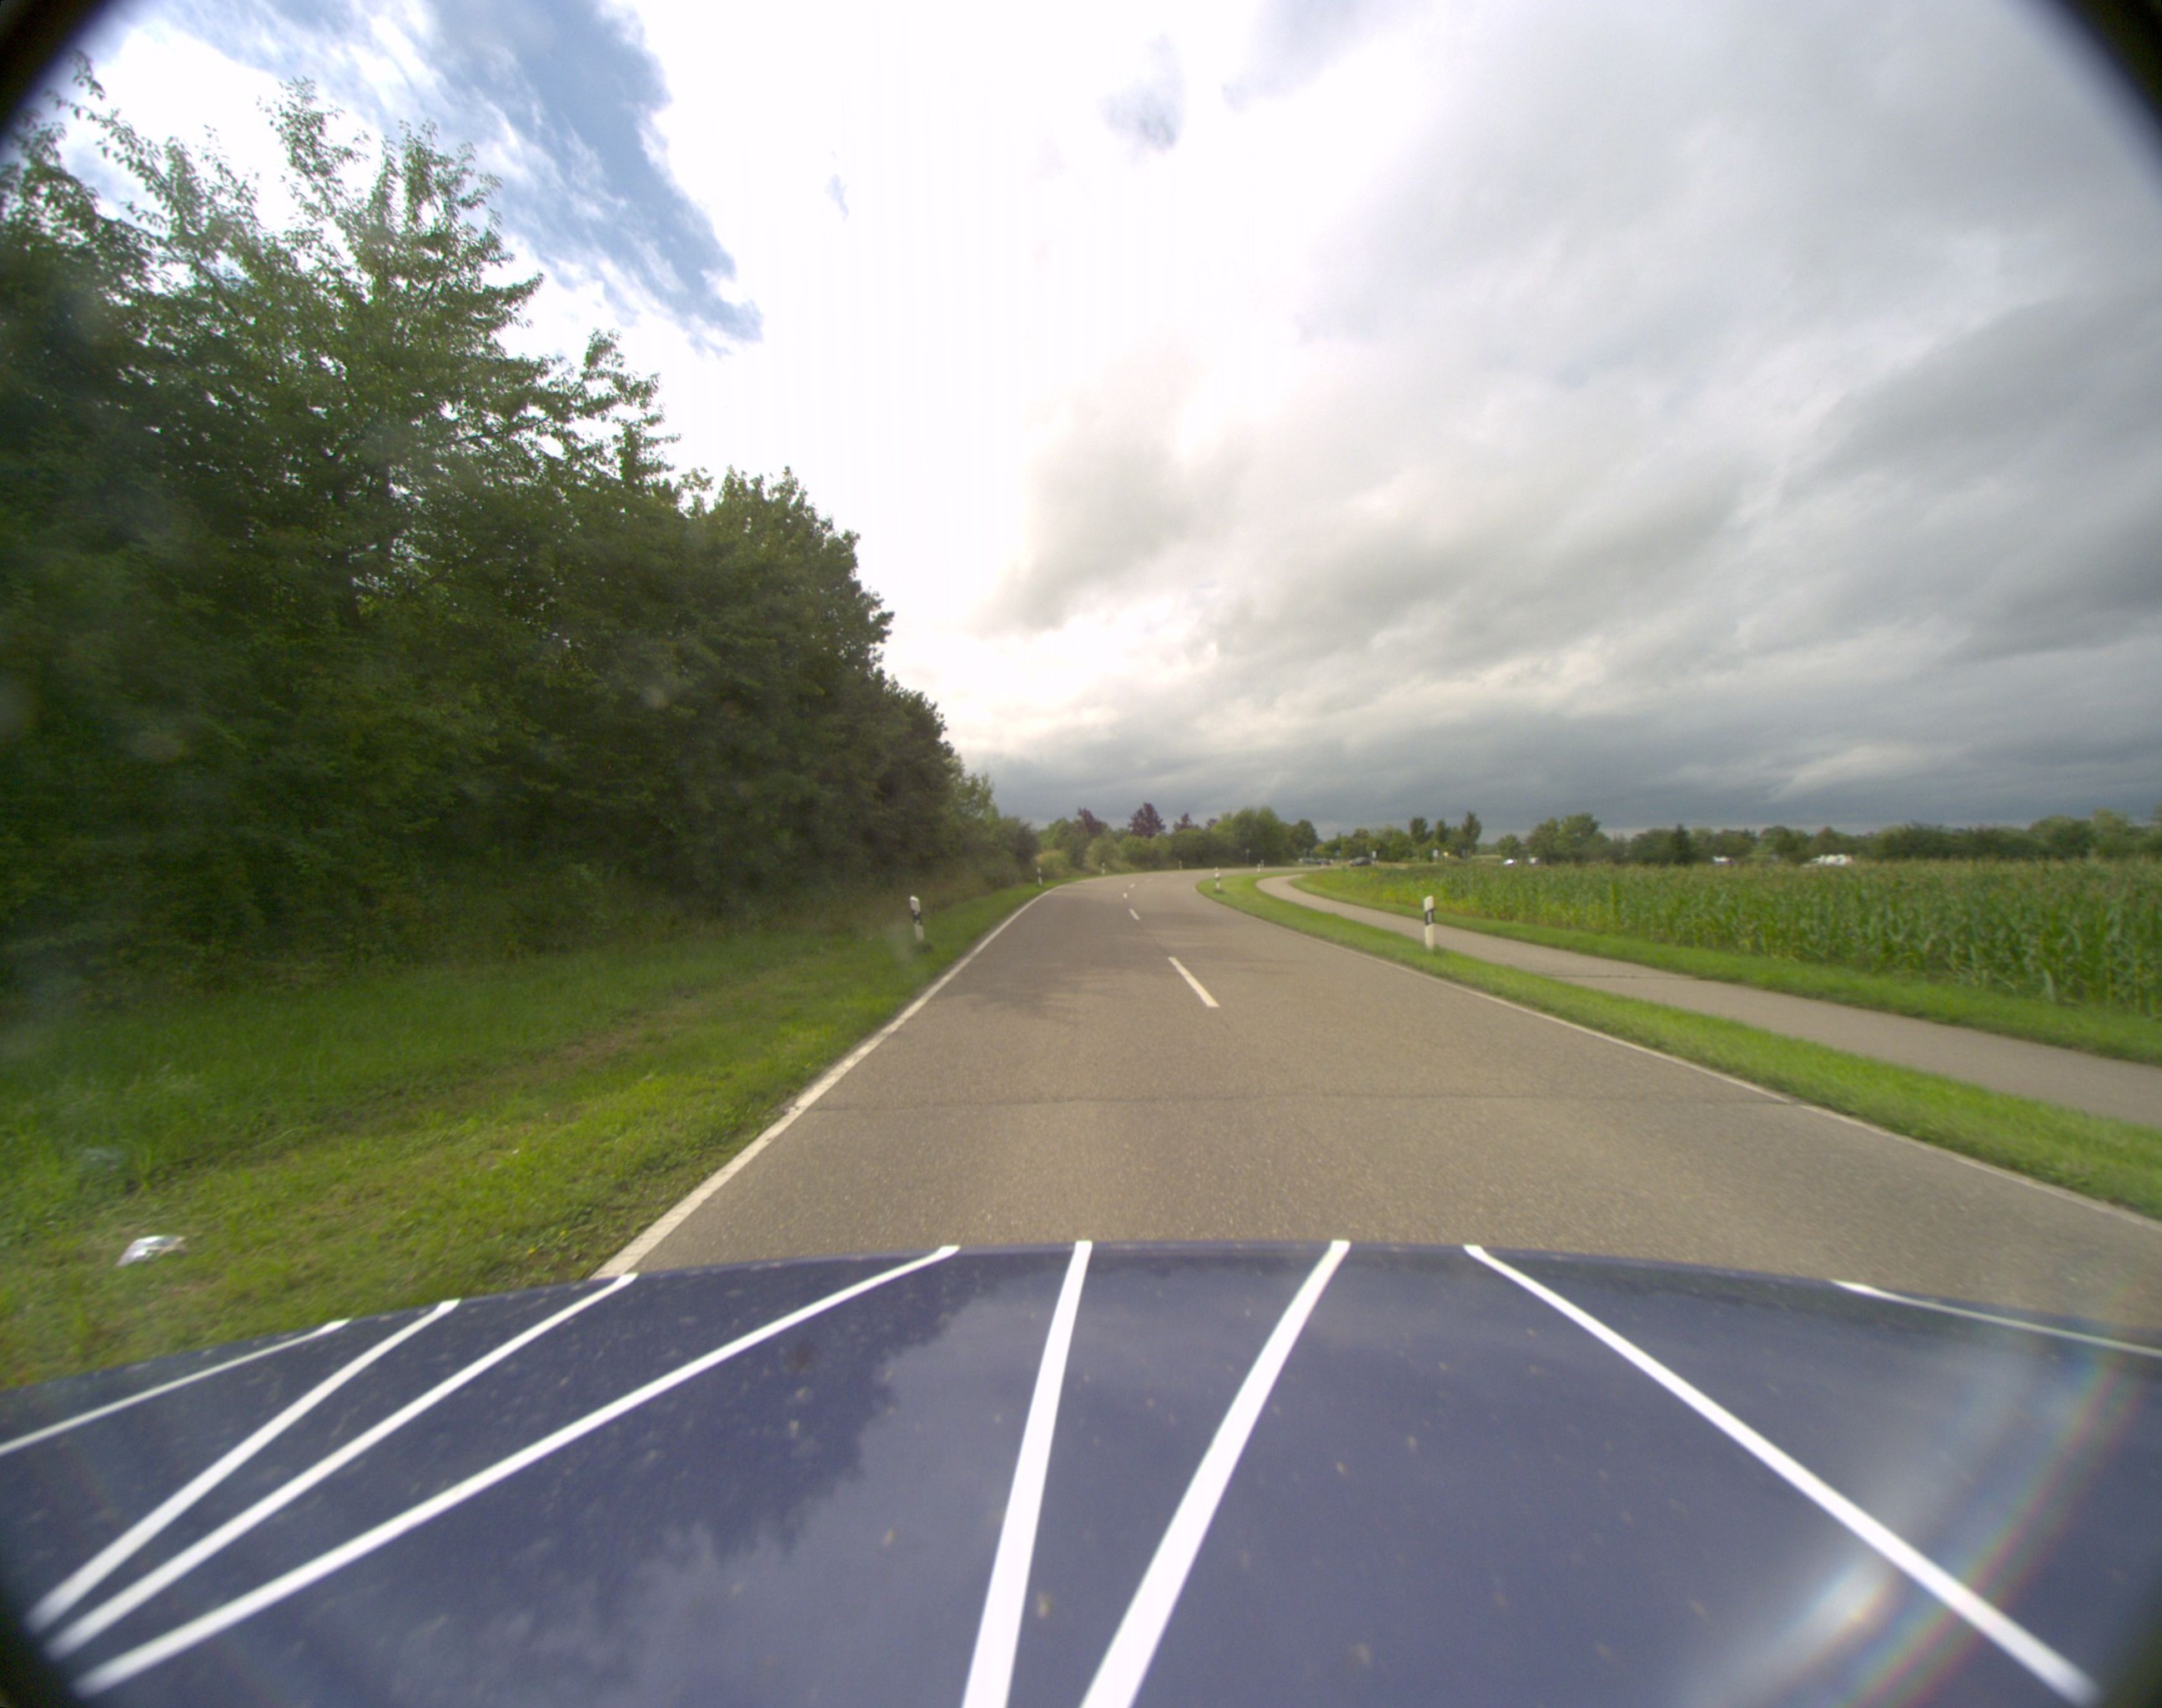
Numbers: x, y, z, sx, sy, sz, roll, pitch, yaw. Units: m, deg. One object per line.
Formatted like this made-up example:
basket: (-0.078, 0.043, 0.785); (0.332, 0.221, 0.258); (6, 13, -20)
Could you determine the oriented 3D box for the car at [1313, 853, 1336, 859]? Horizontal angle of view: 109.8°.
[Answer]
car: (52.823, 0.425, 164.906); (4.153, 1.406, 2.004); (0, 0, 36)
